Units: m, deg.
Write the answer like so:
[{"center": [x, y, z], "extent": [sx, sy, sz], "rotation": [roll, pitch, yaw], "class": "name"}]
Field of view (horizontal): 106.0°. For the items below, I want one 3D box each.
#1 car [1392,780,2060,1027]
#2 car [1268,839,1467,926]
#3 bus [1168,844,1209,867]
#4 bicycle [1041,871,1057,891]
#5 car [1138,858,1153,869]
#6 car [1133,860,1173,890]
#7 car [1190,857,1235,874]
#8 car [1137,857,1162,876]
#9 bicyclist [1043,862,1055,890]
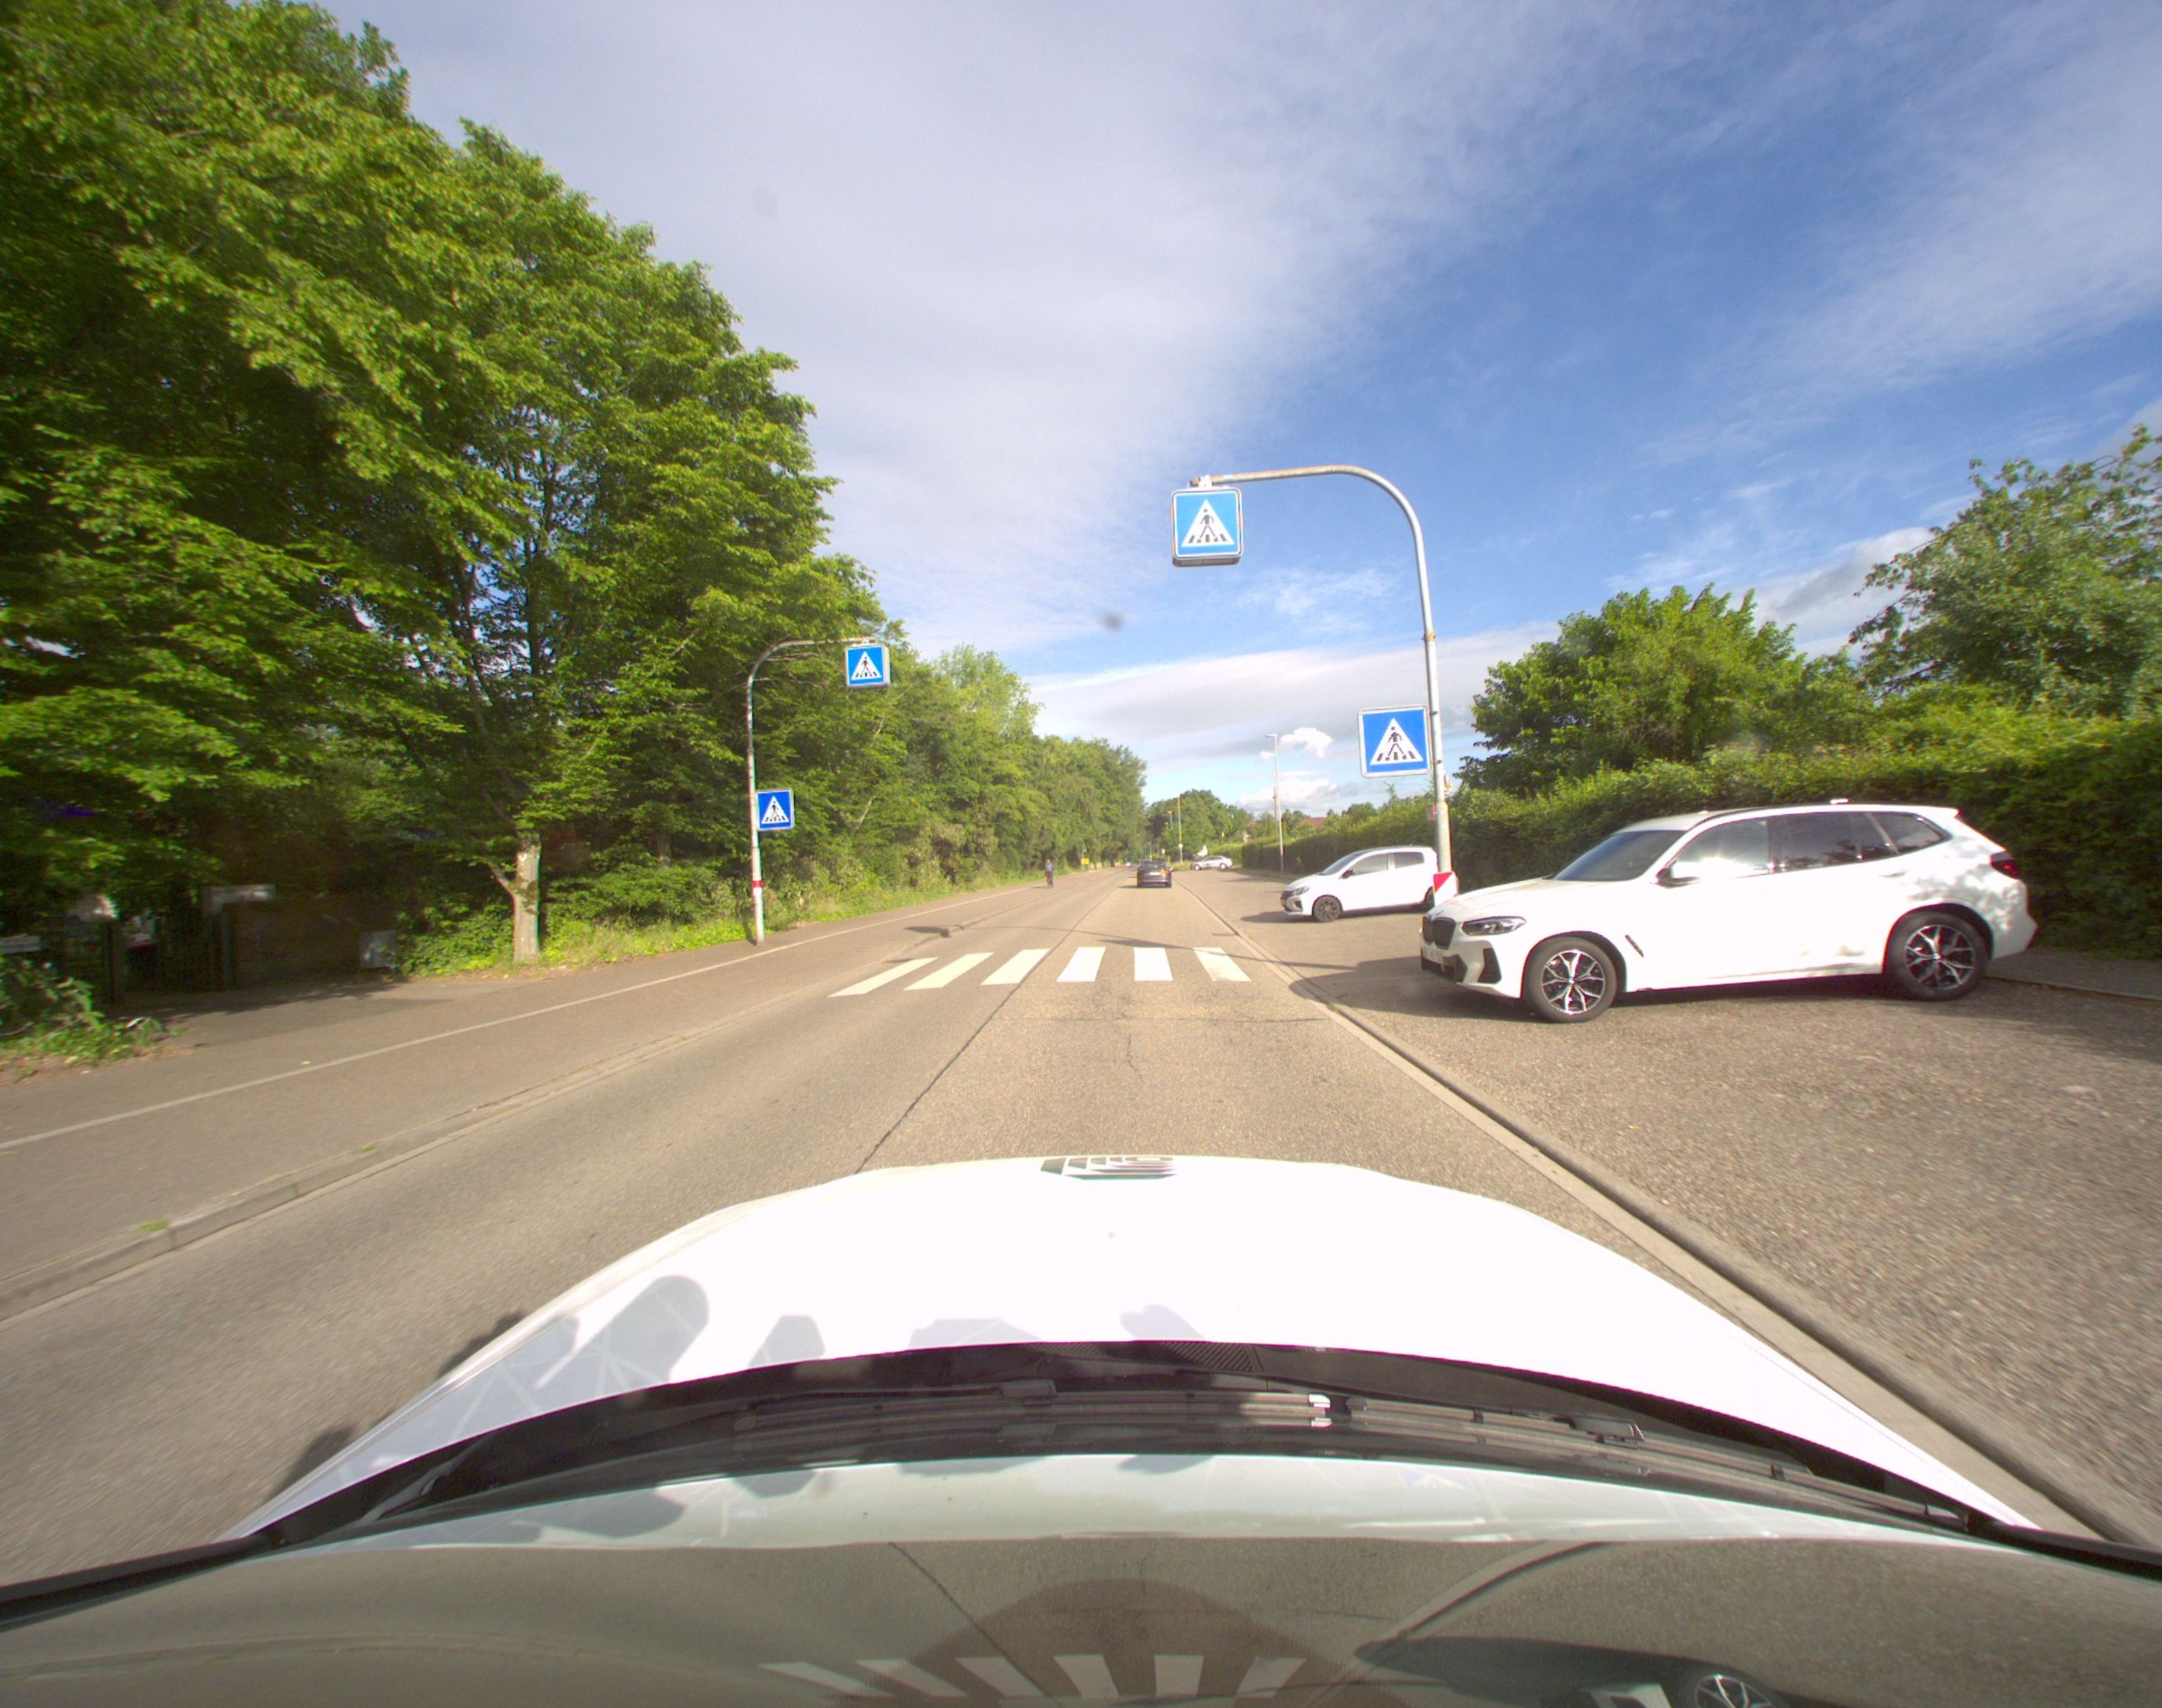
[{"center": [5.538, 0.432, 7.541], "extent": [4.566, 1.699, 1.765], "rotation": [-4, -1, 4], "class": "car"}, {"center": [6.396, 0.605, 18.492], "extent": [3.842, 1.490, 1.693], "rotation": [-6, 1, 2], "class": "car"}, {"center": [14.921, 0.188, 113.140], "extent": [5.345, 2.746, 2.069], "rotation": [-4, 0, 1], "class": "bus"}, {"center": [-1.894, 1.603, 48.651], "extent": [0.659, 1.097, 2.352], "rotation": [-1, 0, 5], "class": "bicycle"}, {"center": [8.510, 1.253, 108.271], "extent": [1.878, 1.372, 4.059], "rotation": [-3, -1, 4], "class": "car"}, {"center": [3.910, 1.097, 43.695], "extent": [1.956, 1.434, 4.343], "rotation": [-2, 0, 6], "class": "car"}, {"center": [13.442, 1.173, 82.989], "extent": [4.334, 1.443, 1.938], "rotation": [-4, -1, 11], "class": "car"}, {"center": [5.528, 0.992, 65.658], "extent": [1.878, 1.372, 4.059], "rotation": [-3, -1, 4], "class": "car"}, {"center": [-1.903, 1.298, 48.578], "extent": [0.606, 1.677, 0.885], "rotation": [-2, -1, 5], "class": "bicyclist"}]
